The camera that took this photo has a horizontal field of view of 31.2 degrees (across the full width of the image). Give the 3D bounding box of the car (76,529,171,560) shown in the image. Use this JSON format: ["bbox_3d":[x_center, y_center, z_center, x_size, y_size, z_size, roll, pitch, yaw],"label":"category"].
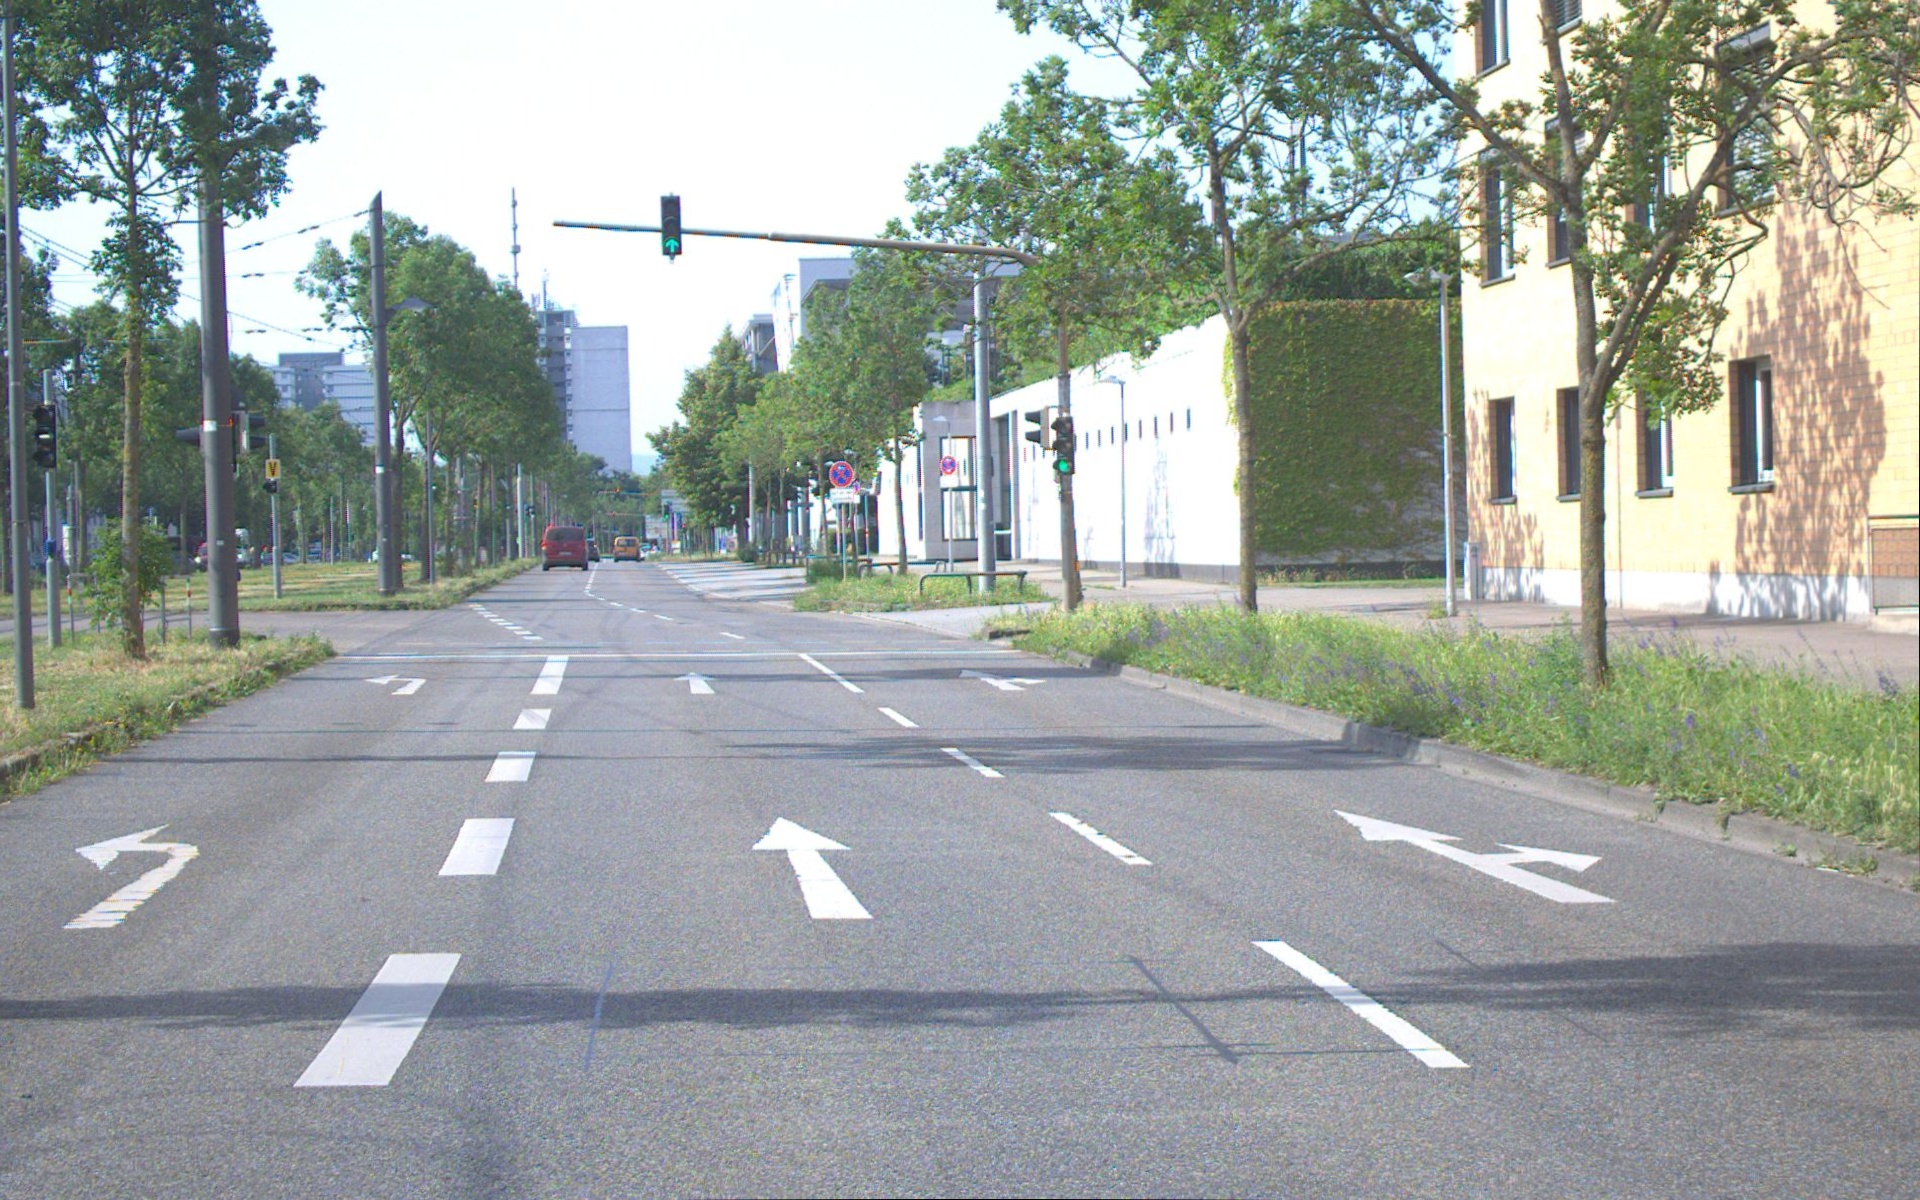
[{"bbox_3d":[-48.078,-3.191,197.670,5.318,1.732,1.997,1,1,28],"label":"car"}]

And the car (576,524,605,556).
[{"bbox_3d":[-23.815,-3.851,221.721,1.748,2.007,3.216,1,1,-5],"label":"car"}]

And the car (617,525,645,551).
[{"bbox_3d":[-21.635,-4.074,226.126,1.748,1.645,3.216,1,1,-5],"label":"car"}]

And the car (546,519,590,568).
[{"bbox_3d":[-16.516,-2.388,145.028,1.748,2.007,3.216,1,1,-5],"label":"car"}]

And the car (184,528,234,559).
[{"bbox_3d":[-42.104,-3.143,192.775,1.965,1.688,4.297,1,1,-2],"label":"car"}]
